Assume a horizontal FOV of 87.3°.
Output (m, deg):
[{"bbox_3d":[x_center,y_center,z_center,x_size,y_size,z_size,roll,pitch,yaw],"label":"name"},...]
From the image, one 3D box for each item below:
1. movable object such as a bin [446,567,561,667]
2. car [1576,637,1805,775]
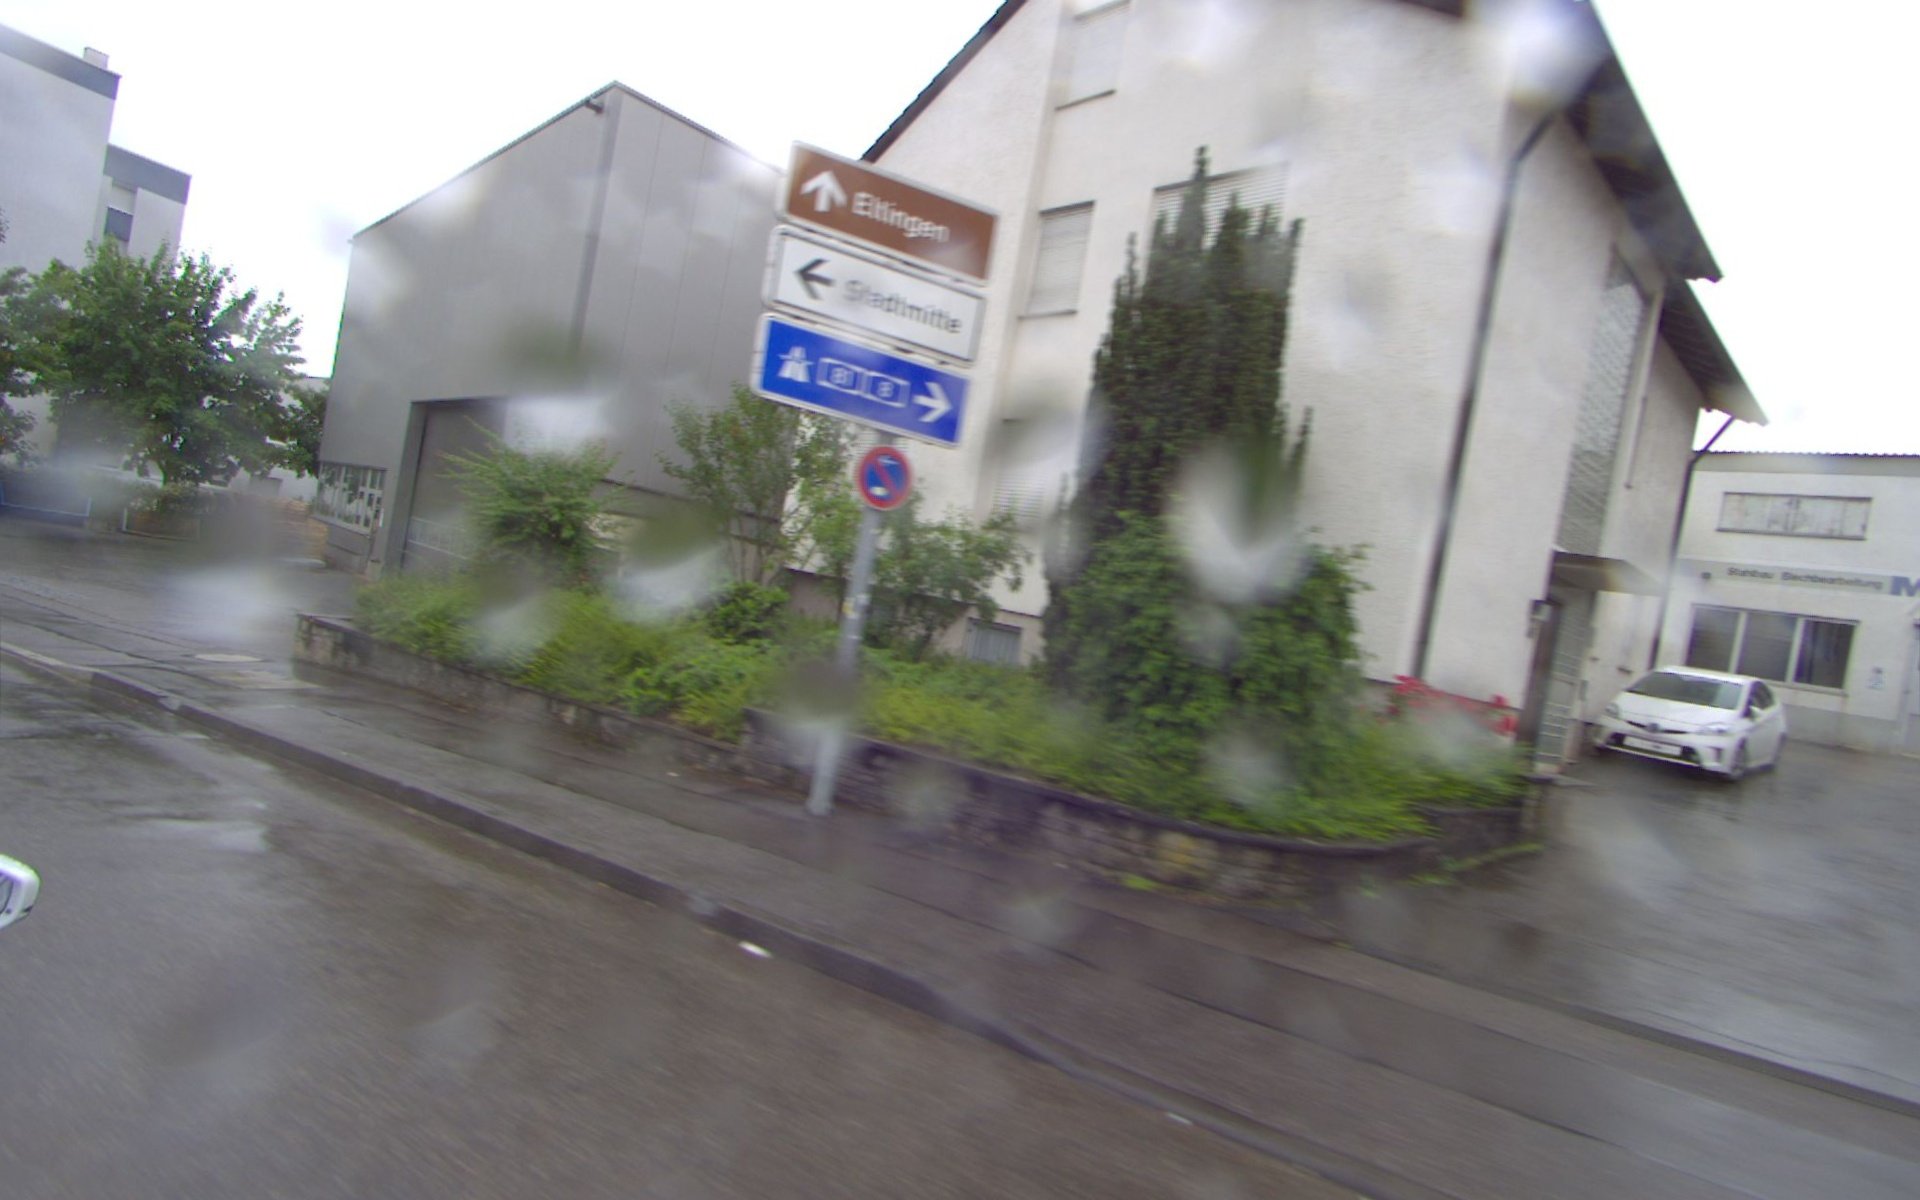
[{"bbox_3d":[-8.194,0.294,18.043,1.258,1.537,1.757,7,1,-43],"label":"movable object such as a bin"},{"bbox_3d":[11.423,1.659,15.621,4.266,1.619,1.781,7,3,-41],"label":"car"}]
